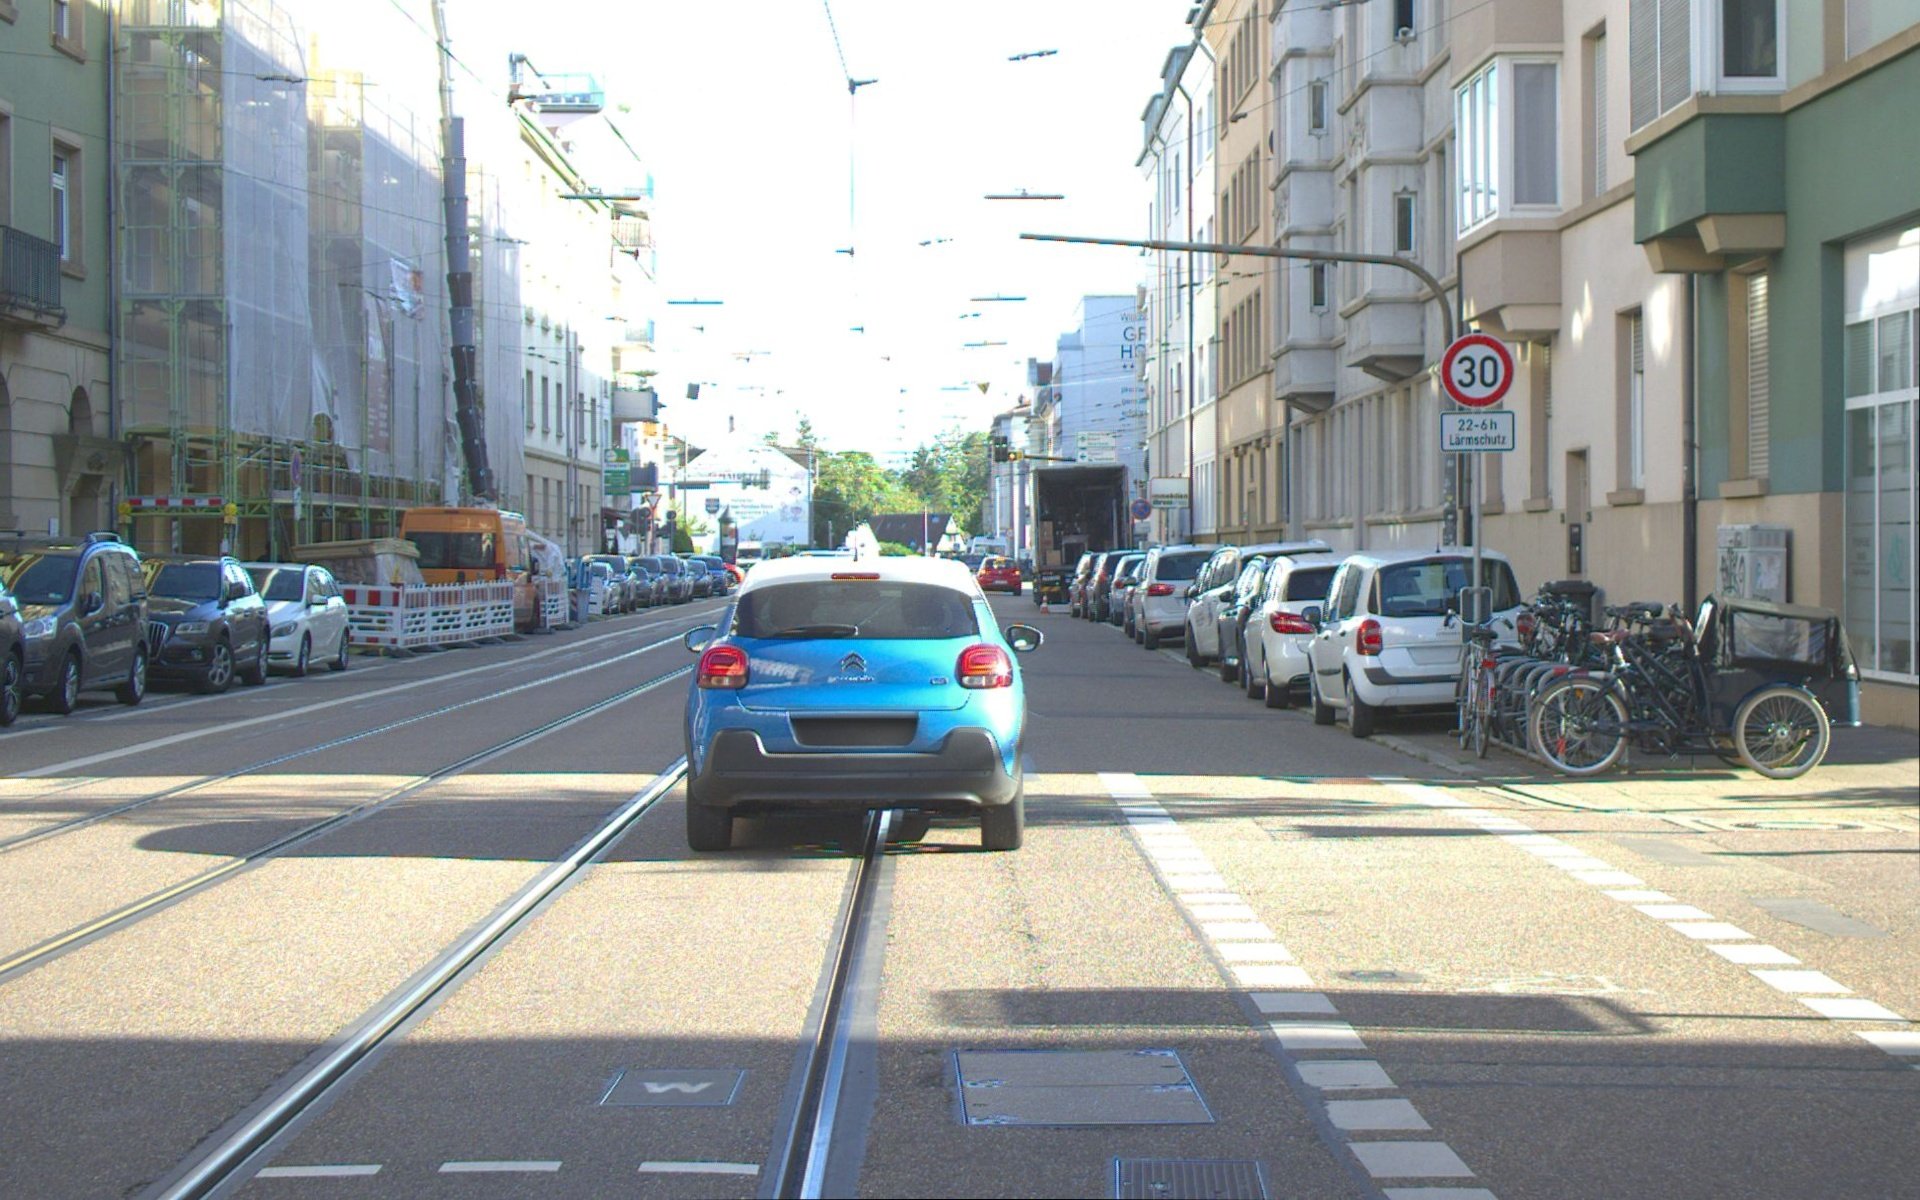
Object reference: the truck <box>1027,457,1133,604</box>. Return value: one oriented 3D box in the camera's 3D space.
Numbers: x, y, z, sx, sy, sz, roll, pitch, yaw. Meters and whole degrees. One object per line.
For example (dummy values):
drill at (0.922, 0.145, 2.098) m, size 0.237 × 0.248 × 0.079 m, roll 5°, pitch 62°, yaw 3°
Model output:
truck at (3.451, -2.033, 101.355) m, size 2.853 × 4.069 × 11.271 m, roll -1°, pitch 1°, yaw 1°

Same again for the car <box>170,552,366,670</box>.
car at (-9.580, 0.116, 47.880) m, size 1.718 × 1.497 × 4.387 m, roll 2°, pitch 1°, yaw 1°

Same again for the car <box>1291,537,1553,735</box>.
car at (4.022, 0.269, 30.514) m, size 1.783 × 1.626 × 4.000 m, roll -1°, pitch 1°, yaw 0°

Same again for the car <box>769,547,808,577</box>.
car at (-9.385, -2.096, 188.173) m, size 1.901 × 1.626 × 4.267 m, roll -1°, pitch 1°, yaw 0°

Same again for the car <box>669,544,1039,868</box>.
car at (-0.510, 0.475, 18.486) m, size 1.735 × 1.502 × 3.992 m, roll 2°, pitch 1°, yaw 0°

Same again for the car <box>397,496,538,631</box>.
car at (-9.339, -0.717, 65.600) m, size 2.144 × 2.467 × 4.981 m, roll 0°, pitch 1°, yaw -2°

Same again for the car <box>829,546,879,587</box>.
car at (-4.286, -1.368, 139.540) m, size 1.901 × 1.626 × 4.267 m, roll -1°, pitch 1°, yaw 0°

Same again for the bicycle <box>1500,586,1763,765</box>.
bicycle at (4.783, 0.536, 24.542) m, size 1.722 × 1.150 × 0.469 m, roll -4°, pitch 1°, yaw 1°

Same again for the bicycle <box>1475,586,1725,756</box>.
bicycle at (4.789, 0.528, 25.770) m, size 1.722 × 1.150 × 0.469 m, roll -4°, pitch 1°, yaw 1°

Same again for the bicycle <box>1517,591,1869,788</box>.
bicycle at (4.797, 0.577, 22.609) m, size 2.086 × 1.150 × 0.848 m, roll -3°, pitch 1°, yaw 1°

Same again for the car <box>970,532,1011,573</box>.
car at (1.704, -2.665, 193.806) m, size 2.220 × 2.276 × 4.084 m, roll -1°, pitch 1°, yaw 0°

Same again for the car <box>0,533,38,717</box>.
car at (-9.656, 0.228, 30.596) m, size 1.783 × 1.684 × 4.668 m, roll 2°, pitch 1°, yaw -2°

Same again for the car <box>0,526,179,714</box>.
car at (-9.657, 0.147, 36.091) m, size 1.783 × 1.810 × 4.528 m, roll 2°, pitch 1°, yaw 1°

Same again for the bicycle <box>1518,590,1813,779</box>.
bicycle at (4.773, 0.567, 23.305) m, size 1.843 × 1.150 × 0.469 m, roll -4°, pitch 1°, yaw 1°

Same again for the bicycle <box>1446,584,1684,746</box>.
bicycle at (4.749, 0.506, 27.018) m, size 1.722 × 1.150 × 0.469 m, roll -4°, pitch 1°, yaw 1°

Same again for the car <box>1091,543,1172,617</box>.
car at (3.945, -0.479, 79.649) m, size 1.664 × 1.641 × 4.222 m, roll -1°, pitch 1°, yaw 0°

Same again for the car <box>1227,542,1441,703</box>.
car at (3.866, 0.190, 36.160) m, size 1.783 × 1.570 × 4.326 m, roll -1°, pitch 1°, yaw 0°

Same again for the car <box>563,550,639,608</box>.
car at (-10.229, -0.616, 98.164) m, size 1.714 × 1.588 × 4.267 m, roll -1°, pitch 1°, yaw 0°

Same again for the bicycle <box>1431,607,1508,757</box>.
bicycle at (3.781, 0.592, 25.575) m, size 0.353 × 1.041 × 1.728 m, roll 0°, pitch 1°, yaw 1°

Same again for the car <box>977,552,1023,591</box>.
car at (1.554, -1.147, 134.688) m, size 1.765 × 1.481 × 4.032 m, roll -1°, pitch 1°, yaw 0°

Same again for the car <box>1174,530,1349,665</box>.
car at (4.086, -0.066, 47.235) m, size 1.654 × 1.746 × 4.604 m, roll -1°, pitch 1°, yaw -4°

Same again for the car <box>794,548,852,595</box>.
car at (-4.836, -1.036, 121.785) m, size 1.826 × 1.626 × 4.490 m, roll -1°, pitch 1°, yaw 0°

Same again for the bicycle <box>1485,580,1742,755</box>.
bicycle at (4.762, 0.486, 25.089) m, size 1.722 × 1.150 × 0.469 m, roll -4°, pitch 1°, yaw 1°

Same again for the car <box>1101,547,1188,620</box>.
car at (3.982, -0.384, 74.805) m, size 1.664 × 1.514 × 4.222 m, roll -1°, pitch 1°, yaw 0°

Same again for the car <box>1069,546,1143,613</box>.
car at (3.613, -0.529, 85.671) m, size 1.664 × 1.627 × 3.871 m, roll -1°, pitch 1°, yaw 0°

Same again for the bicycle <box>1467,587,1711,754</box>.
bicycle at (4.818, 0.537, 26.391) m, size 1.722 × 1.150 × 0.469 m, roll -4°, pitch 1°, yaw 1°

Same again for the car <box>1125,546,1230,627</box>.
car at (4.095, -0.279, 65.143) m, size 1.722 × 1.481 × 4.222 m, roll -1°, pitch 1°, yaw 0°

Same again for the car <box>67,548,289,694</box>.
car at (-9.445, 0.210, 41.867) m, size 1.783 × 1.621 × 4.610 m, roll 2°, pitch 1°, yaw -2°

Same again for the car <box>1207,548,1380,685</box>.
car at (3.974, 0.156, 41.522) m, size 1.655 × 1.561 × 4.338 m, roll -1°, pitch 1°, yaw 0°

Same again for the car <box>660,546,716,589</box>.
car at (-10.432, -1.259, 131.990) m, size 1.826 × 1.626 × 3.905 m, roll -1°, pitch 1°, yaw 0°

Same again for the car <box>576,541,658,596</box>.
car at (-10.580, -1.001, 106.142) m, size 2.144 × 1.616 × 4.000 m, roll -1°, pitch 1°, yaw -1°

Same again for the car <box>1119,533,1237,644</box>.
car at (3.730, -0.224, 59.338) m, size 1.730 × 1.821 × 4.686 m, roll -1°, pitch 1°, yaw 0°
